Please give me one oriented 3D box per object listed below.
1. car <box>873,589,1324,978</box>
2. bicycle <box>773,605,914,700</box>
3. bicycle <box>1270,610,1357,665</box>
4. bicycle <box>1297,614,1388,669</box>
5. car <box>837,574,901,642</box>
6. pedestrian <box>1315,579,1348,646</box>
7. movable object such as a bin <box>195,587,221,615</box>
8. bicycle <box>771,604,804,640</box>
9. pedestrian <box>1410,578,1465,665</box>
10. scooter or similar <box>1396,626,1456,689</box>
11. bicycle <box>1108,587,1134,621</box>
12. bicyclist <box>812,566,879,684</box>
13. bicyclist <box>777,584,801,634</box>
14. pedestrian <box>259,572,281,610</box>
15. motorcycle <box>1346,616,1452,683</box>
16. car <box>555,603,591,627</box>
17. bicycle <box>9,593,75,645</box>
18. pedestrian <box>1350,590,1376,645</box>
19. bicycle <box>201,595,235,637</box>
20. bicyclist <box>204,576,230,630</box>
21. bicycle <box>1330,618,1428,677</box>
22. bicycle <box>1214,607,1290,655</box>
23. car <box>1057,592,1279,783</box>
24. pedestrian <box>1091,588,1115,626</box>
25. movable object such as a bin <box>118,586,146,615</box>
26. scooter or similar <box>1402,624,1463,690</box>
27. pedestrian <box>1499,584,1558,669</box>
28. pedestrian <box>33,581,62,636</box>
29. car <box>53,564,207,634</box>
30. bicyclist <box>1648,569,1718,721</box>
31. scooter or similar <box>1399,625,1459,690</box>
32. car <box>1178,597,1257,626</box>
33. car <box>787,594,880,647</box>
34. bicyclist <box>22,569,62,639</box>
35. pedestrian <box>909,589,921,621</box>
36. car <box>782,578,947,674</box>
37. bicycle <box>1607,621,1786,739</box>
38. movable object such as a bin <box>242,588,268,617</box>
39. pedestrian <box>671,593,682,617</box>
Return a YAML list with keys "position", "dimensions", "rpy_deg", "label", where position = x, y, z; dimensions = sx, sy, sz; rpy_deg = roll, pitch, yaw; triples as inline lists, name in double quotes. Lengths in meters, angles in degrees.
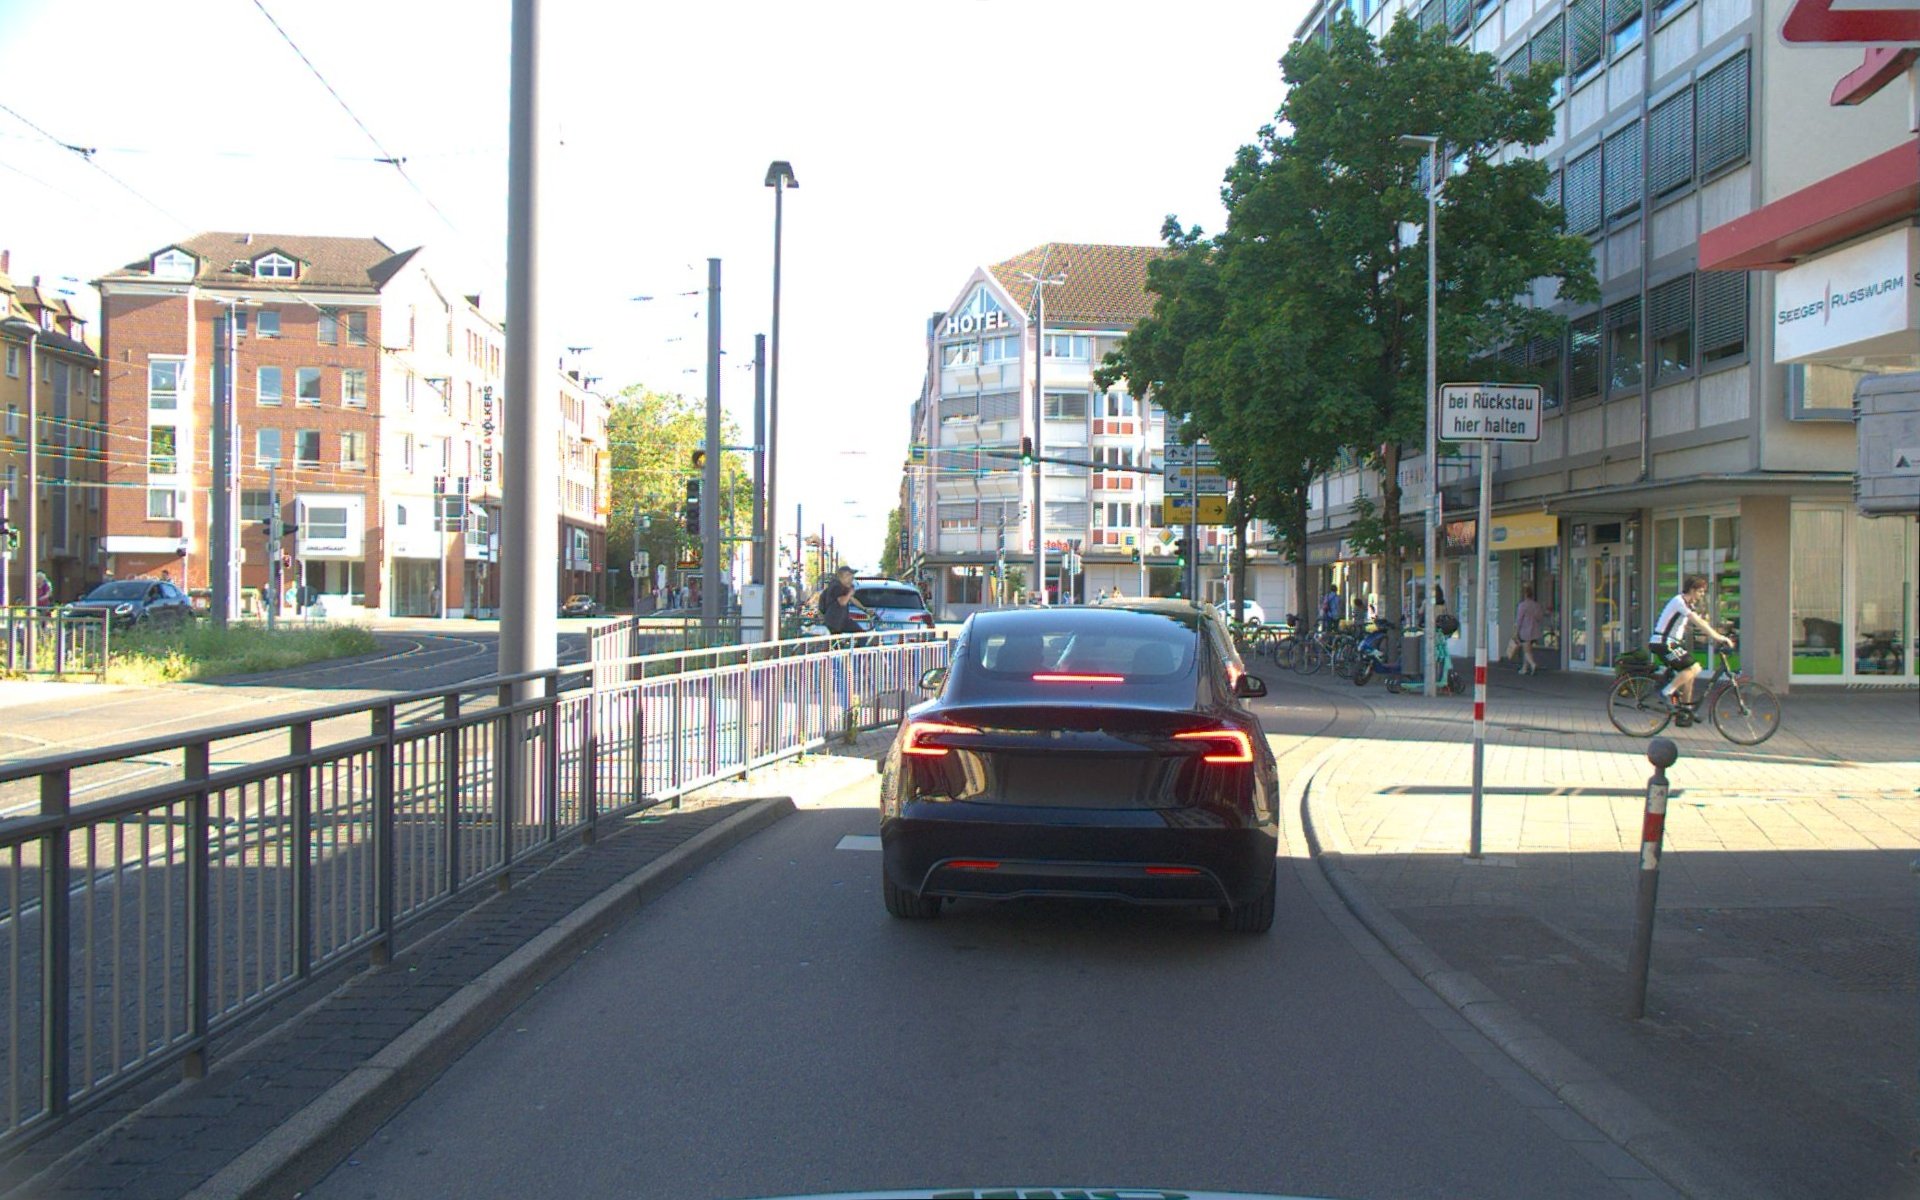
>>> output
- position: [0.637, 0.707, 8.503]
  dimensions: [1.753, 1.476, 3.941]
  rpy_deg: [1, 1, 3]
  label: "car"
- position: [-1.553, 0.700, 22.212]
  dimensions: [1.802, 1.233, 0.635]
  rpy_deg: [1, -1, -32]
  label: "bicycle"
- position: [7.562, 0.791, 35.401]
  dimensions: [1.774, 1.172, 0.435]
  rpy_deg: [0, 0, -5]
  label: "bicycle"
- position: [7.730, 0.830, 33.442]
  dimensions: [1.730, 1.075, 0.458]
  rpy_deg: [1, -1, 4]
  label: "bicycle"
- position: [-2.343, 0.204, 42.722]
  dimensions: [1.541, 1.646, 3.781]
  rpy_deg: [1, 0, -3]
  label: "car"
- position: [9.955, 0.329, 44.317]
  dimensions: [0.825, 1.751, 0.880]
  rpy_deg: [1, -1, 12]
  label: "pedestrian"
- position: [-39.270, 0.044, 86.393]
  dimensions: [0.978, 1.462, 1.093]
  rpy_deg: [1, 0, -10]
  label: "movable object such as a bin"
- position: [-6.221, 0.785, 59.570]
  dimensions: [0.618, 1.245, 2.026]
  rpy_deg: [1, 0, -23]
  label: "bicycle"
- position: [9.701, 0.436, 33.640]
  dimensions: [0.826, 1.737, 0.880]
  rpy_deg: [1, -1, -1]
  label: "pedestrian"
- position: [7.721, 0.949, 27.407]
  dimensions: [0.943, 1.045, 0.160]
  rpy_deg: [0, 0, 2]
  label: "scooter or similar"
- position: [7.183, 0.157, 73.868]
  dimensions: [0.573, 1.489, 1.679]
  rpy_deg: [0, 0, -16]
  label: "bicycle"
- position: [-1.543, 0.329, 22.223]
  dimensions: [0.674, 1.550, 0.628]
  rpy_deg: [1, -1, -32]
  label: "bicyclist"
- position: [-6.146, 0.321, 59.464]
  dimensions: [0.604, 1.803, 0.824]
  rpy_deg: [1, -1, -23]
  label: "bicyclist"
- position: [-32.314, -0.409, 77.417]
  dimensions: [0.682, 1.740, 0.929]
  rpy_deg: [1, -1, -7]
  label: "pedestrian"
- position: [7.778, 0.869, 29.336]
  dimensions: [1.751, 1.149, 0.504]
  rpy_deg: [1, -1, -3]
  label: "motorcycle"
- position: [-24.906, 0.954, 106.597]
  dimensions: [1.782, 1.479, 3.972]
  rpy_deg: [-1, 0, -6]
  label: "car"
- position: [-22.629, 0.468, 40.793]
  dimensions: [0.519, 1.235, 1.885]
  rpy_deg: [1, 0, 1]
  label: "bicycle"
- position: [10.707, 0.460, 43.933]
  dimensions: [0.631, 1.447, 0.621]
  rpy_deg: [1, -1, 10]
  label: "pedestrian"
- position: [-23.644, 0.496, 52.721]
  dimensions: [0.563, 1.313, 2.020]
  rpy_deg: [1, 0, -12]
  label: "bicycle"
- position: [-23.617, 0.102, 52.604]
  dimensions: [0.578, 1.678, 0.803]
  rpy_deg: [1, -1, -14]
  label: "bicyclist"
- position: [7.961, 0.902, 31.421]
  dimensions: [1.817, 1.074, 0.398]
  rpy_deg: [-1, 0, -12]
  label: "bicycle"
- position: [7.495, 0.794, 42.470]
  dimensions: [1.851, 1.177, 0.480]
  rpy_deg: [-1, -1, 0]
  label: "bicycle"
- position: [1.801, 0.674, 15.351]
  dimensions: [1.727, 1.469, 4.531]
  rpy_deg: [1, 0, 4]
  label: "car"
- position: [6.335, 0.309, 73.448]
  dimensions: [0.766, 1.604, 0.864]
  rpy_deg: [1, 1, -16]
  label: "pedestrian"
- position: [-42.971, 0.031, 85.848]
  dimensions: [0.978, 1.462, 1.093]
  rpy_deg: [1, 0, -10]
  label: "movable object such as a bin"
- position: [7.712, 0.925, 27.008]
  dimensions: [0.943, 1.061, 0.160]
  rpy_deg: [0, 0, 2]
  label: "scooter or similar"
- position: [11.084, 0.509, 32.277]
  dimensions: [0.826, 1.630, 0.880]
  rpy_deg: [1, 0, -1]
  label: "pedestrian"
- position: [-29.291, 0.274, 53.087]
  dimensions: [0.613, 1.717, 0.703]
  rpy_deg: [1, 1, -13]
  label: "pedestrian"
- position: [-19.999, -0.021, 40.037]
  dimensions: [1.650, 1.588, 4.121]
  rpy_deg: [1, 0, -1]
  label: "car"
- position: [8.114, 0.495, 18.548]
  dimensions: [0.668, 1.659, 0.578]
  rpy_deg: [1, -1, 28]
  label: "bicyclist"
- position: [7.717, 0.938, 27.206]
  dimensions: [0.936, 1.057, 0.160]
  rpy_deg: [0, 0, 2]
  label: "scooter or similar"
- position: [13.483, 0.620, 86.656]
  dimensions: [3.766, 1.457, 1.801]
  rpy_deg: [1, -2, -6]
  label: "car"
- position: [-3.912, 0.612, 50.906]
  dimensions: [1.704, 1.578, 3.445]
  rpy_deg: [1, 0, -26]
  label: "car"
- position: [-22.616, 0.098, 40.764]
  dimensions: [0.510, 1.702, 0.770]
  rpy_deg: [1, -1, 0]
  label: "bicyclist"
- position: [-2.576, 0.261, 94.802]
  dimensions: [0.613, 1.813, 0.917]
  rpy_deg: [1, -1, -1]
  label: "pedestrian"
- position: [-1.823, 0.455, 30.734]
  dimensions: [1.818, 1.663, 3.455]
  rpy_deg: [1, 0, -27]
  label: "car"
- position: [8.220, 0.870, 18.480]
  dimensions: [1.785, 1.233, 0.581]
  rpy_deg: [1, -1, 28]
  label: "bicycle"
- position: [-36.964, 0.140, 86.727]
  dimensions: [0.978, 1.462, 1.093]
  rpy_deg: [1, 0, -10]
  label: "movable object such as a bin"
- position: [-18.659, 0.305, 108.883]
  dimensions: [0.574, 1.557, 0.634]
  rpy_deg: [1, -1, -18]
  label: "pedestrian"
